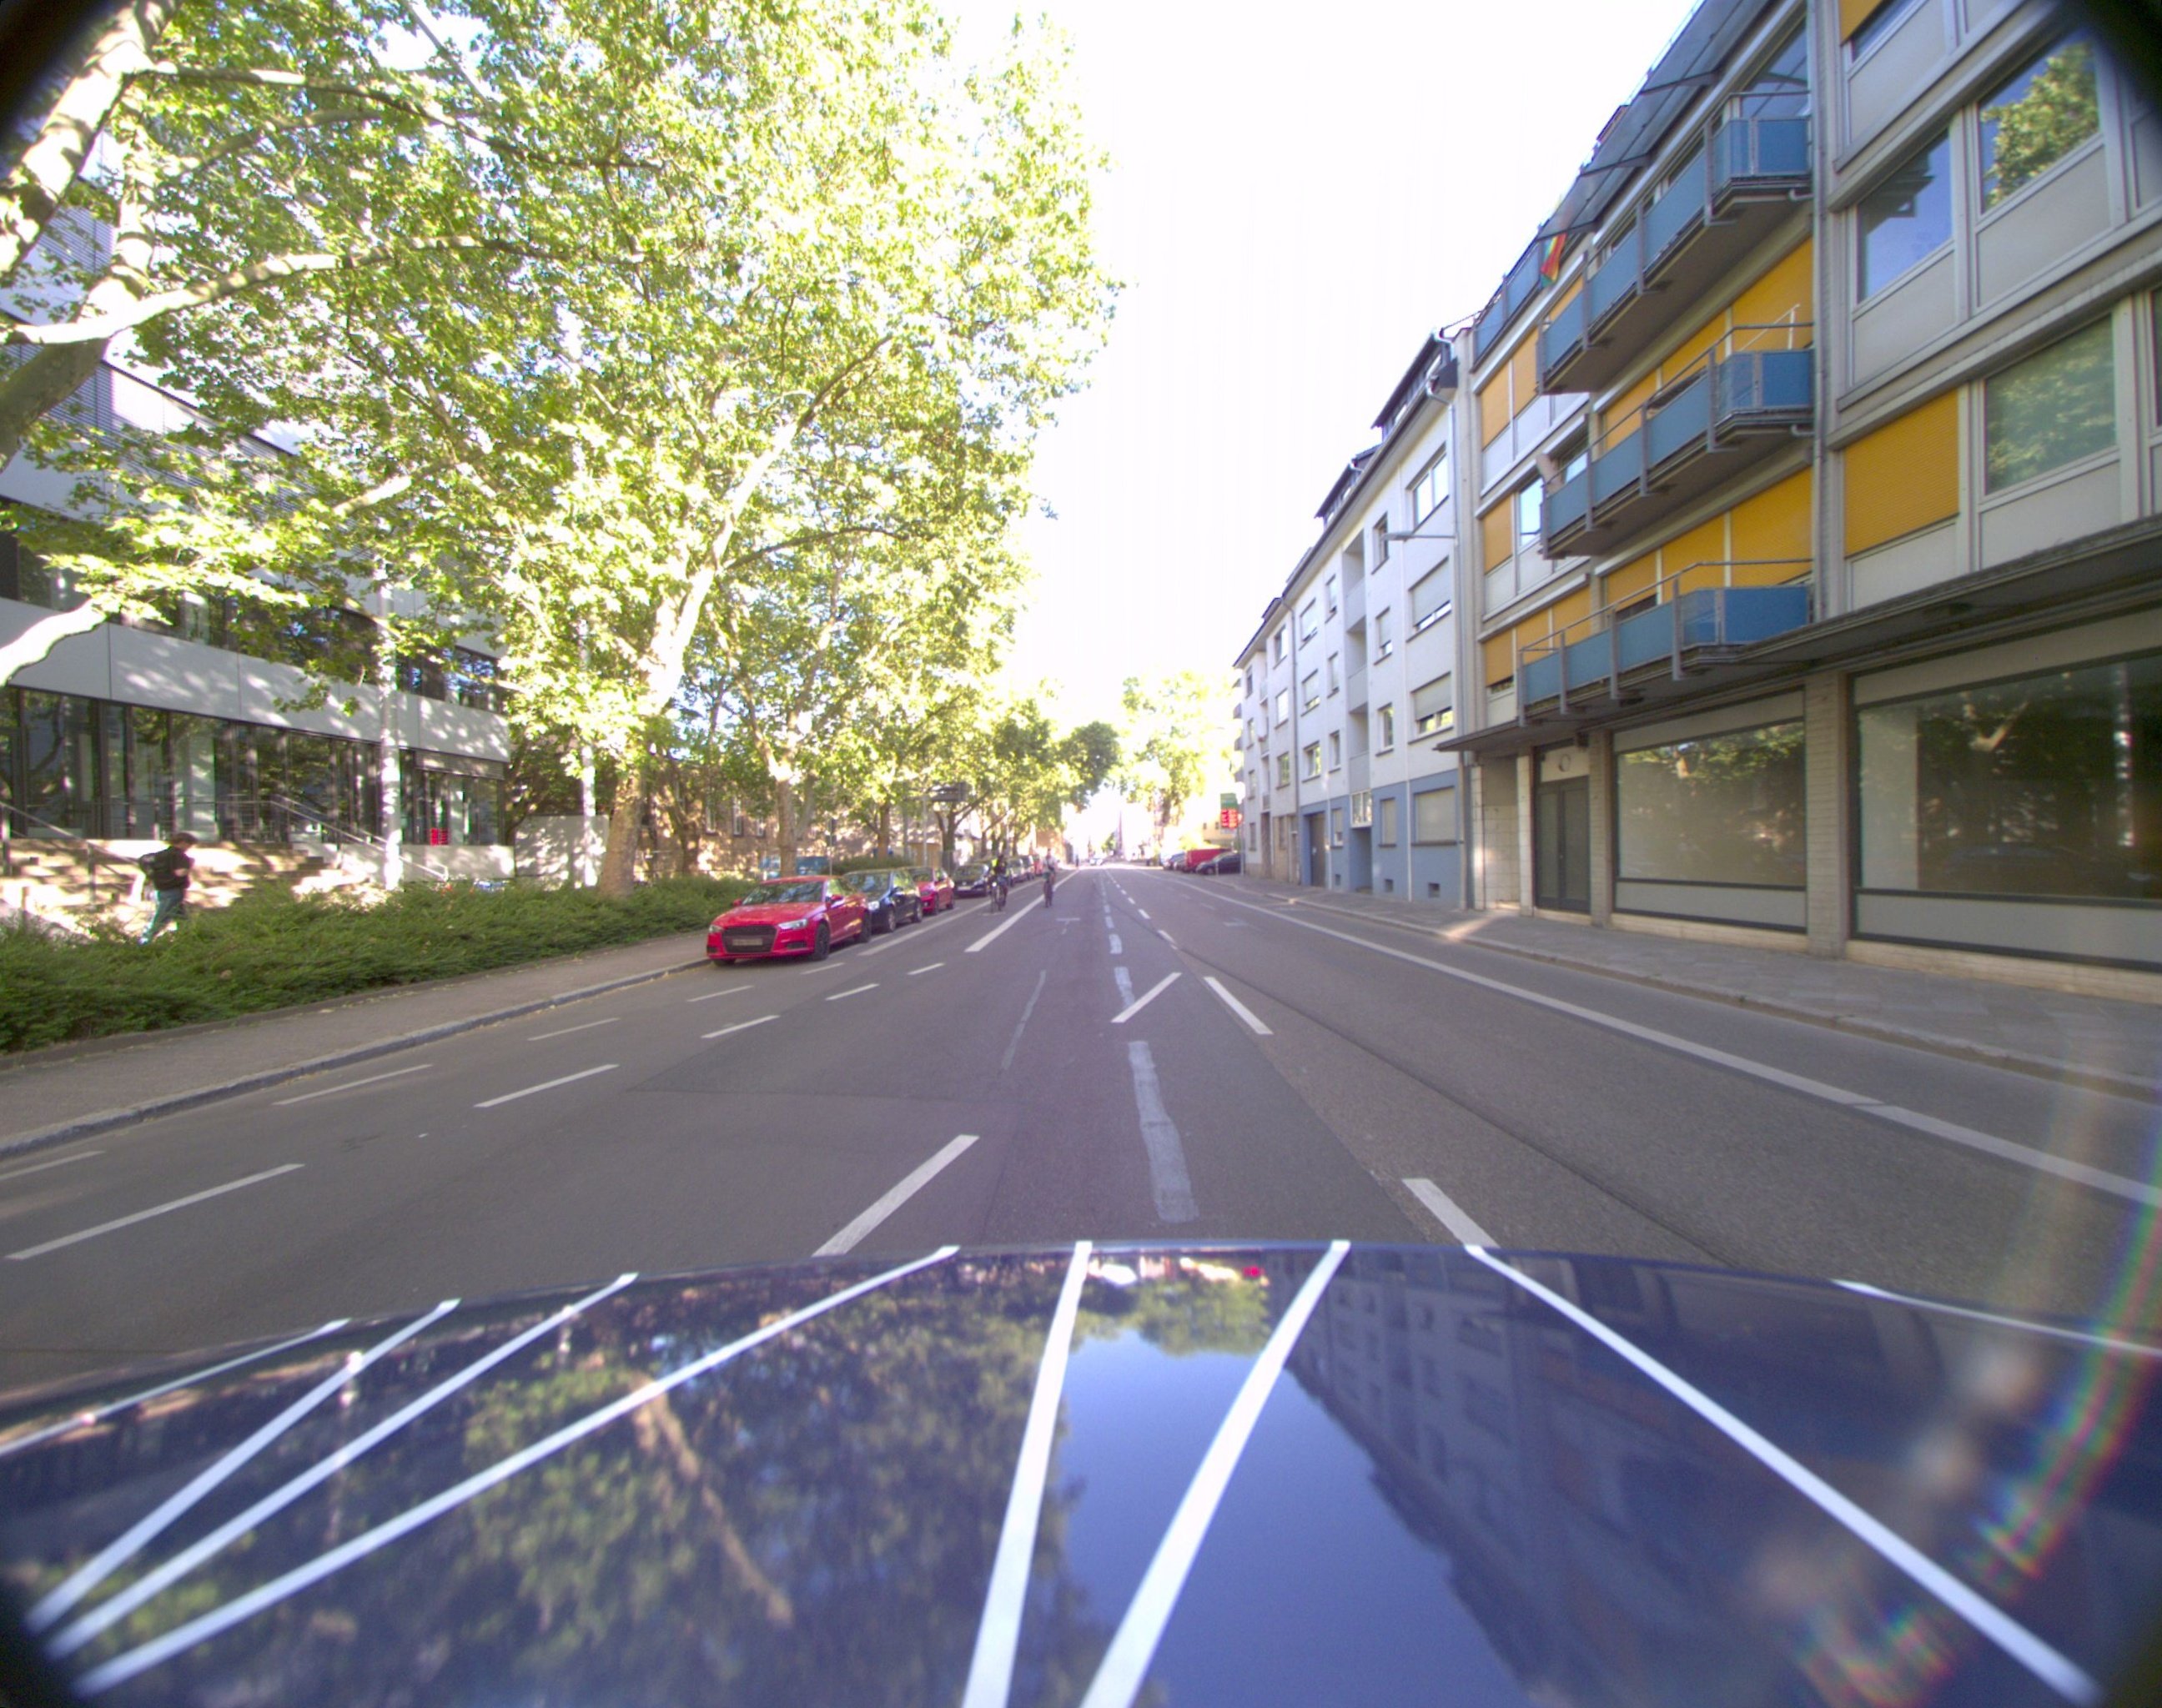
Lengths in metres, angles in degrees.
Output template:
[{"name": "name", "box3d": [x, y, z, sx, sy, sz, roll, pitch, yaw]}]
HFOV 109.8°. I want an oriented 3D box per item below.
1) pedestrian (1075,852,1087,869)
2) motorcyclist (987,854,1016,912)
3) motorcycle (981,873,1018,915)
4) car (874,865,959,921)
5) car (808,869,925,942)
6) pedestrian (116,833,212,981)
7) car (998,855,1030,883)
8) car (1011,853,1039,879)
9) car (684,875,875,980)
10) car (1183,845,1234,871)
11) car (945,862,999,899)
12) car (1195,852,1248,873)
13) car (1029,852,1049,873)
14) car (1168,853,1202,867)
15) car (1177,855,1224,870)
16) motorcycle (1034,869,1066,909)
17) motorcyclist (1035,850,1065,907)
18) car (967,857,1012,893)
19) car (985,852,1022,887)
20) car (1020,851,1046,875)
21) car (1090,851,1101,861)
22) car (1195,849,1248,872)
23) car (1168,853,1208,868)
[{"name": "pedestrian", "box3d": [0.025, 0.681, 78.553, 0.894, 1.727, 0.827, -3, 1, -41]}, {"name": "motorcyclist", "box3d": [-2.434, 0.883, 23.316, 0.719, 1.733, 0.751, -2, 1, 1]}, {"name": "motorcycle", "box3d": [-2.464, 1.196, 23.217, 0.799, 1.125, 2.236, -2, 1, 1]}, {"name": "car", "box3d": [-5.015, 1.132, 23.679, 1.692, 1.441, 3.923, -2, 1, 1]}, {"name": "car", "box3d": [-5.052, 1.162, 18.406, 1.669, 1.410, 3.697, -2, 1, 1]}, {"name": "pedestrian", "box3d": [-12.857, 0.726, 10.670, 0.552, 2.002, 0.562, -2, 1, -11]}, {"name": "car", "box3d": [-4.355, 0.938, 50.107, 1.634, 1.604, 4.576, -2, 1, 0]}, {"name": "car", "box3d": [-4.039, 0.813, 55.234, 1.634, 1.725, 3.769, -2, 1, 0]}, {"name": "car", "box3d": [-5.163, 1.179, 13.652, 1.794, 1.384, 3.999, -2, 1, 0]}, {"name": "car", "box3d": [10.059, 0.317, 59.937, 3.688, 1.897, 1.490, -2, -1, -1]}, {"name": "car", "box3d": [-4.695, 1.110, 33.231, 1.692, 1.414, 3.923, -2, 1, 0]}, {"name": "car", "box3d": [10.089, 0.586, 54.724, 3.508, 1.380, 1.490, -2, 1, 2]}, {"name": "car", "box3d": [-3.905, 0.804, 70.998, 1.599, 1.835, 3.769, -2, 1, 0]}, {"name": "car", "box3d": [10.321, 0.577, 75.462, 3.271, 1.238, 1.345, -2, 1, 2]}, {"name": "car", "box3d": [9.810, 0.689, 62.583, 3.687, 1.122, 1.345, -2, 1, 2]}, {"name": "motorcycle", "box3d": [-0.980, 1.106, 24.423, 0.865, 1.161, 1.929, -2, 1, 1]}, {"name": "motorcyclist", "box3d": [-0.991, 0.784, 24.623, 0.833, 1.778, 0.913, -2, 1, 1]}, {"name": "car", "box3d": [-4.520, 0.991, 38.102, 1.634, 1.569, 4.231, -2, 1, 0]}, {"name": "car", "box3d": [-4.457, 0.852, 44.235, 1.634, 1.781, 4.576, -2, 1, 0]}, {"name": "car", "box3d": [-4.172, 0.720, 66.086, 1.915, 1.940, 3.769, -2, 1, 0]}, {"name": "car", "box3d": [2.453, 0.300, 126.153, 1.752, 1.423, 4.266, -2, 0, 2]}, {"name": "car", "box3d": [10.532, 0.481, 57.093, 3.687, 1.503, 1.490, -2, 1, 2]}, {"name": "car", "box3d": [10.266, 0.623, 73.024, 3.687, 1.238, 1.345, -2, 1, 2]}]
